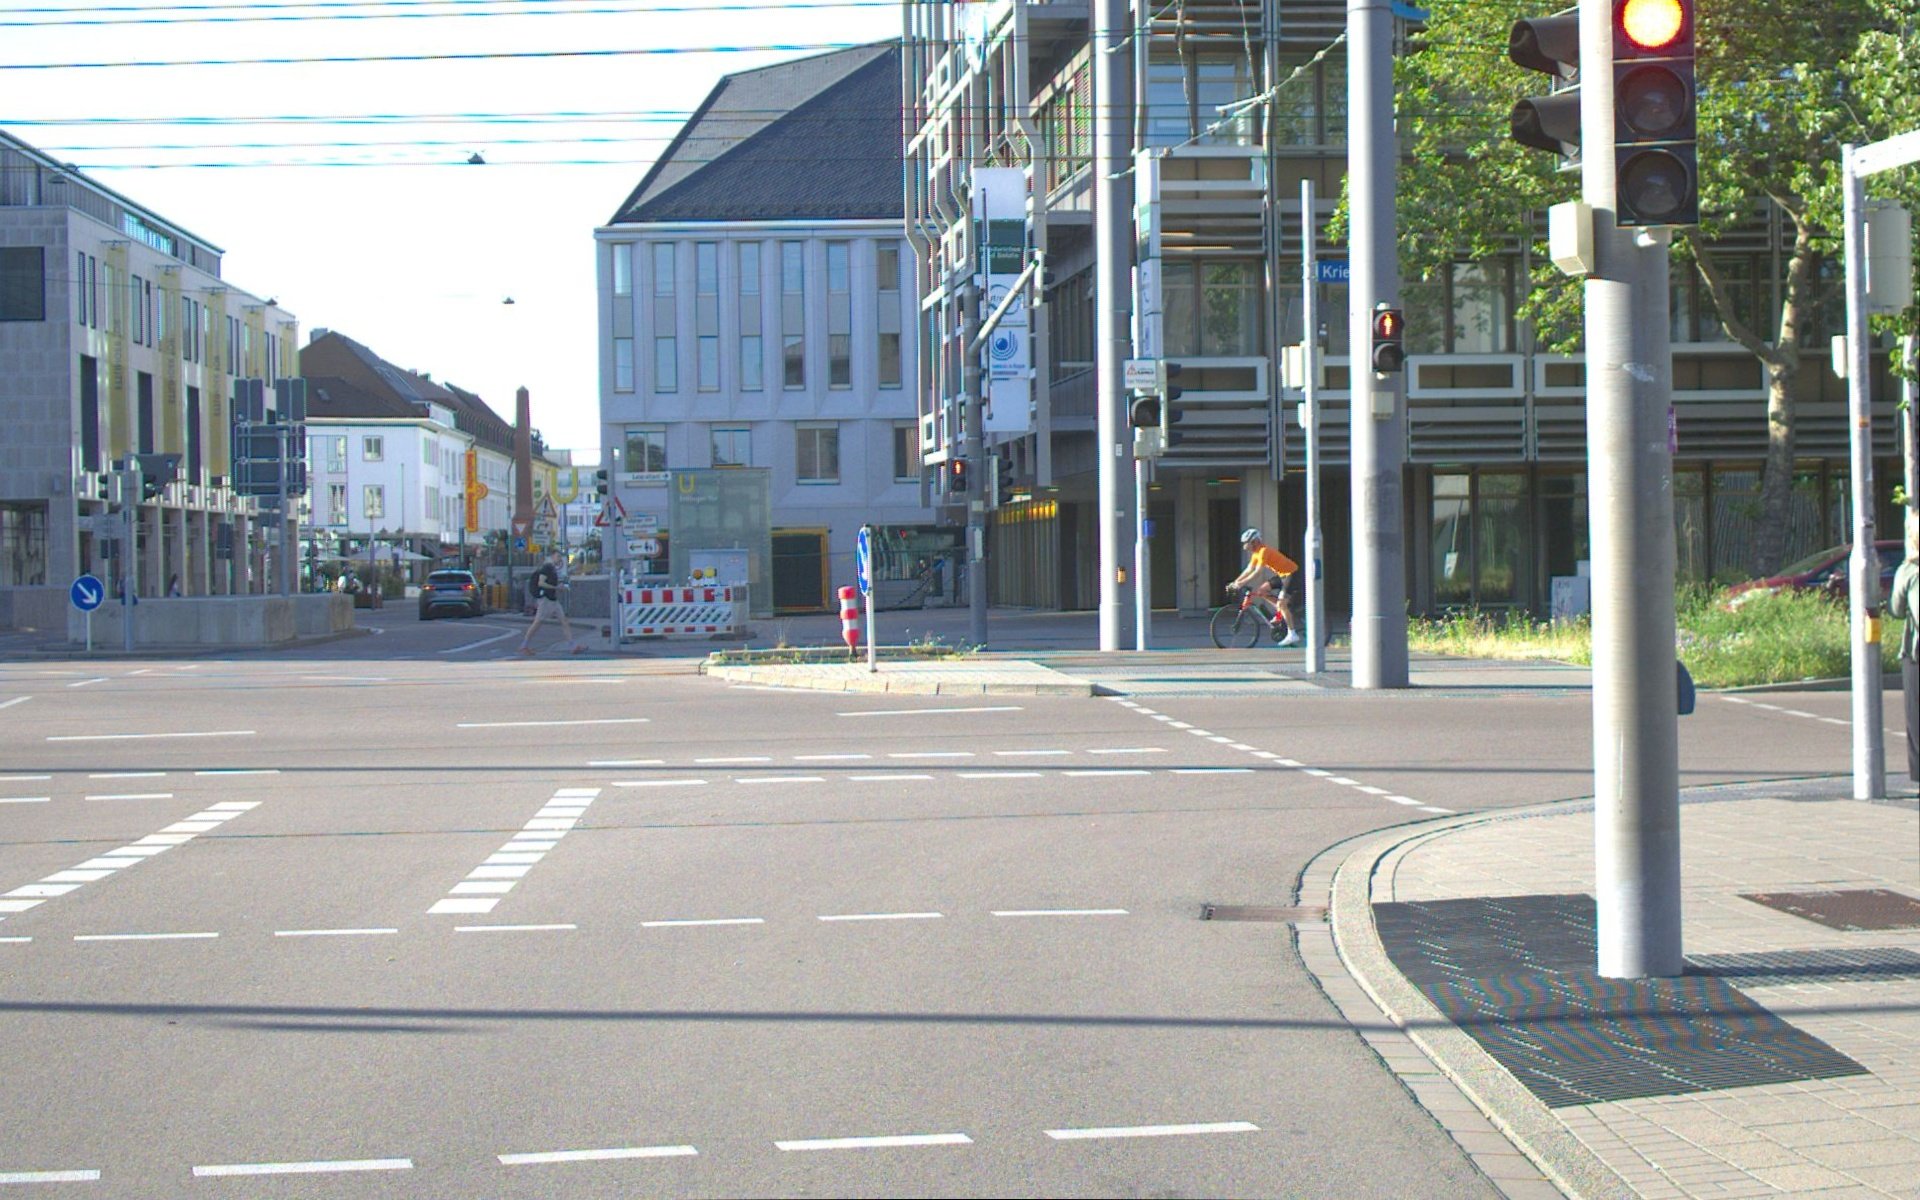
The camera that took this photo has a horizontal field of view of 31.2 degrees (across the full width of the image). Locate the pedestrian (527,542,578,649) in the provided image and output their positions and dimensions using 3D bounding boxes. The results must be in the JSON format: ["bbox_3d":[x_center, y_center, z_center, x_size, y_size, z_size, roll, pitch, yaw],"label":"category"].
[{"bbox_3d":[-7.230,-0.087,61.032,0.642,1.883,0.790,1,0,14],"label":"pedestrian"}]

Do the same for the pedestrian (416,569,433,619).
[{"bbox_3d":[-18.234,-0.211,117.082,0.521,1.674,0.583,1,1,-7],"label":"pedestrian"}]

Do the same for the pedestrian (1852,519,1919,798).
[{"bbox_3d":[5.340,0.312,18.675,0.788,1.487,0.644,1,0,-1],"label":"pedestrian"}]

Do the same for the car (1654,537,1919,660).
[{"bbox_3d":[11.462,-0.037,46.121,3.884,1.579,1.660,-1,1,-7],"label":"car"}]

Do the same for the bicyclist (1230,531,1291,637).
[{"bbox_3d":[4.079,-0.218,46.653,0.711,1.432,0.497,1,0,-9],"label":"bicyclist"}]

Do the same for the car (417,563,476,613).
[{"bbox_3d":[-16.141,-0.389,108.205,1.737,1.525,3.856,1,1,-7],"label":"car"}]

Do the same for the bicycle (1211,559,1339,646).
[{"bbox_3d":[4.272,0.032,46.691,1.644,1.150,0.497,1,0,-9],"label":"bicycle"}]
